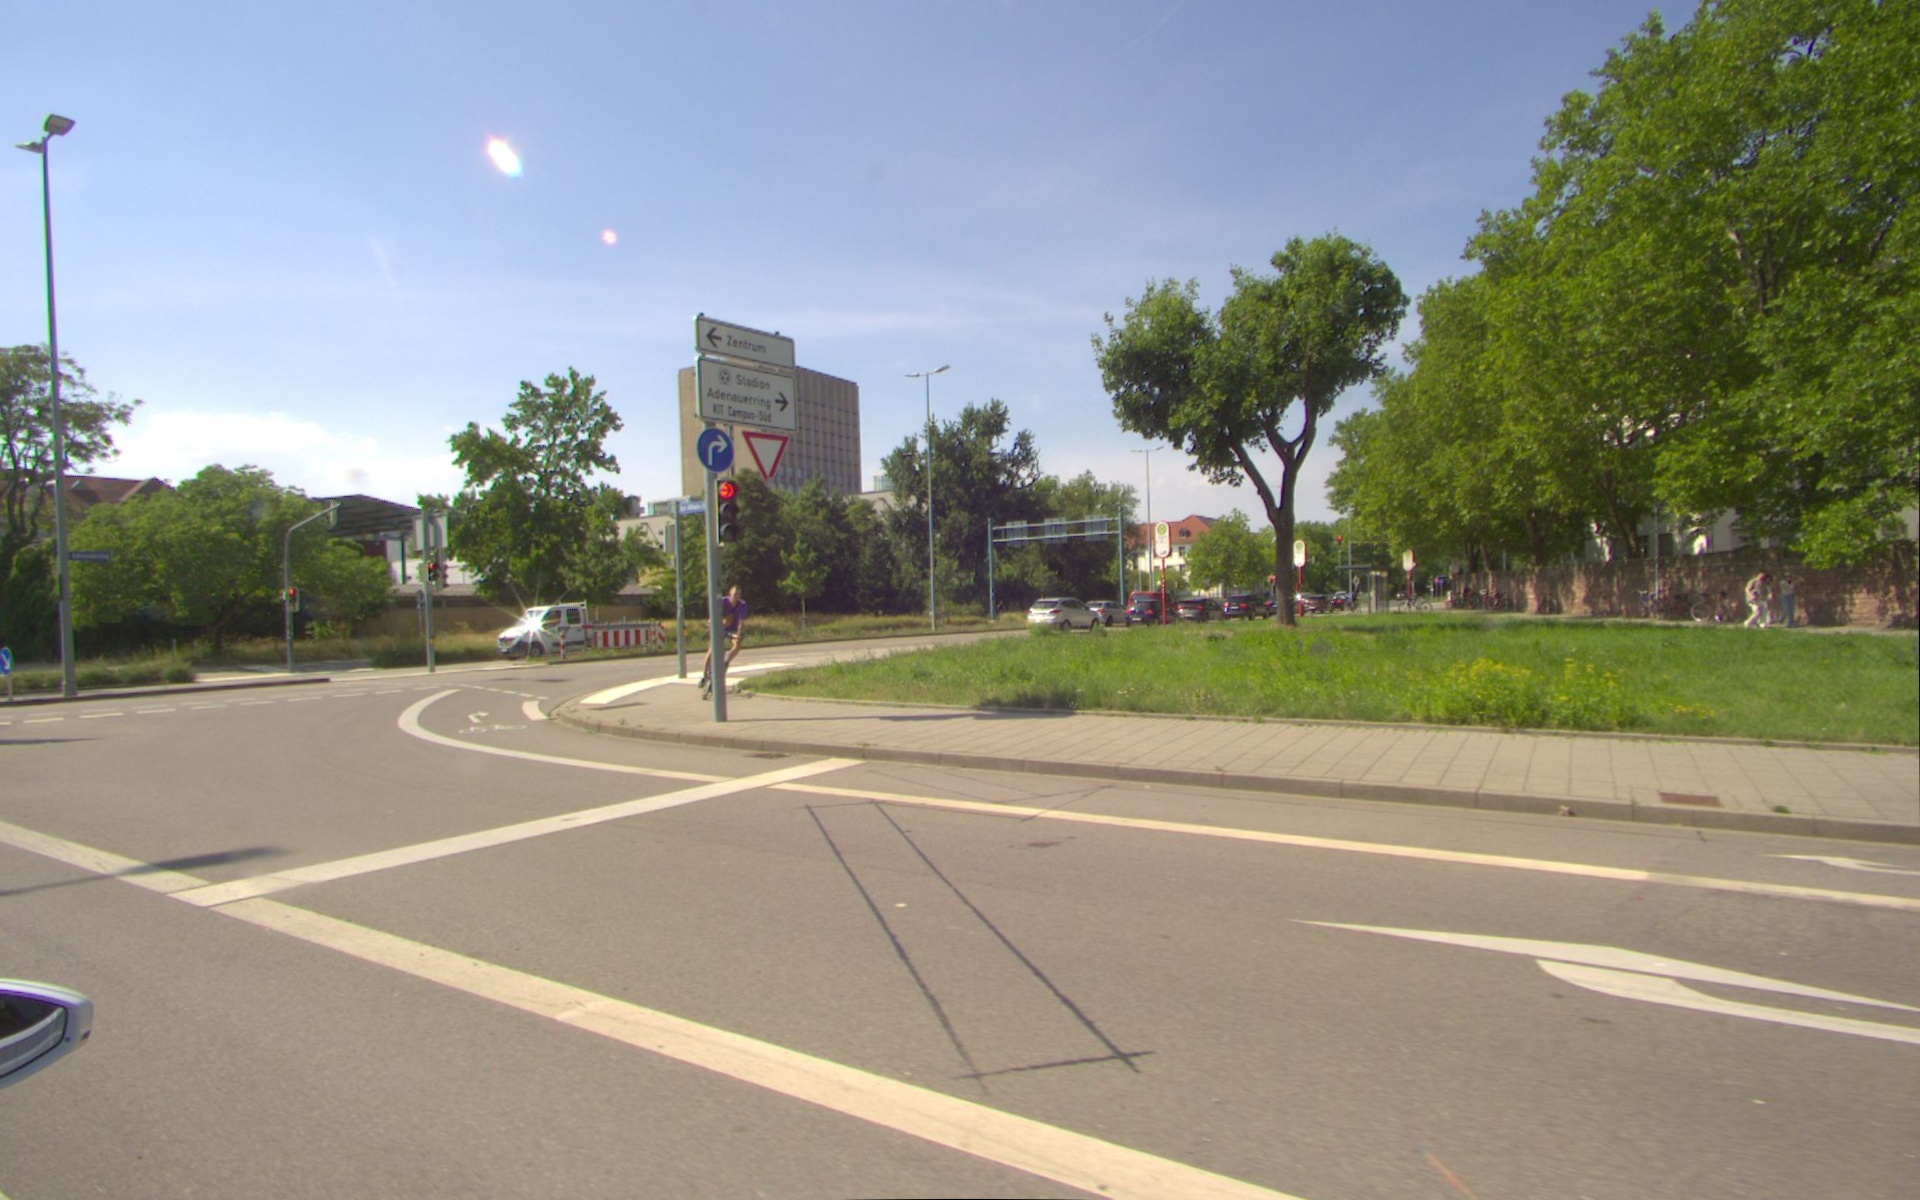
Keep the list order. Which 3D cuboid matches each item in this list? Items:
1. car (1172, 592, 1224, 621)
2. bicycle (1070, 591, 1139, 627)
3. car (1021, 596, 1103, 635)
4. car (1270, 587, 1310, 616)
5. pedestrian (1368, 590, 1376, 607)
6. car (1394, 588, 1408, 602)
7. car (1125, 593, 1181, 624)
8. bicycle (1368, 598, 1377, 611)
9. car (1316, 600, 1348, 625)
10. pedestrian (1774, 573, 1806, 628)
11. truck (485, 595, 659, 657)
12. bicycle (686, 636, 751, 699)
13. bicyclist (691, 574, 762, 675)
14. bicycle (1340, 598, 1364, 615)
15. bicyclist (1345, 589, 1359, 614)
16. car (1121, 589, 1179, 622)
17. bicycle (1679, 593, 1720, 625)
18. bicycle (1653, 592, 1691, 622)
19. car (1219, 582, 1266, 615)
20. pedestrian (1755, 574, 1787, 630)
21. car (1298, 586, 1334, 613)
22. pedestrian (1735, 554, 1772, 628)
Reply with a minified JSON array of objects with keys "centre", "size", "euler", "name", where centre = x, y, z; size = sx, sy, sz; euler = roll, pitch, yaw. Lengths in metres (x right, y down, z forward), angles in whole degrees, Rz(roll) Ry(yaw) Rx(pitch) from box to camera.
[{"centre":[14.268,0.377,59.833],"size":[1.564,1.612,3.972],"euler":[-1,1,37],"name":"car"},{"centre":[8.176,0.495,56.265],"size":[1.978,1.839,3.966],"euler":[-2,0,41],"name":"bicycle"},{"centre":[4.736,0.671,46.054],"size":[1.691,1.640,4.183],"euler":[-1,1,40],"name":"car"},{"centre":[24.002,0.089,72.790],"size":[1.971,2.040,3.980],"euler":[-1,1,30],"name":"car"},{"centre":[35.642,-0.130,86.589],"size":[0.552,1.458,0.729],"euler":[-1,1,30],"name":"pedestrian"},{"centre":[71.607,-0.807,162.553],"size":[1.968,2.039,3.987],"euler":[-1,-2,26],"name":"car"},{"centre":[12.035,0.501,62.203],"size":[1.950,1.821,4.587],"euler":[-1,0,31],"name":"car"},{"centre":[35.685,0.400,86.644],"size":[0.552,1.066,1.318],"euler":[-1,1,30],"name":"bicycle"},{"centre":[31.809,1.080,85.527],"size":[1.970,2.039,3.984],"euler":[-1,-2,29],"name":"car"},{"centre":[24.347,0.014,29.379],"size":[0.515,1.599,0.701],"euler":[-2,1,23],"name":"pedestrian"},{"centre":[-16.874,1.072,44.040],"size":[2.380,2.386,7.007],"euler":[-3,-1,33],"name":"truck"},{"centre":[-3.985,1.092,16.630],"size":[0.672,0.899,1.932],"euler":[-2,0,-3],"name":"bicycle"},{"centre":[-3.927,0.411,16.854],"size":[1.068,1.659,0.486],"euler":[-1,1,29],"name":"bicyclist"},{"centre":[31.781,0.526,81.133],"size":[0.838,1.233,3.462],"euler":[-2,-2,37],"name":"bicycle"},{"centre":[31.792,0.130,81.199],"size":[0.769,2.039,1.265],"euler":[-1,-2,38],"name":"bicyclist"},{"centre":[10.201,0.284,53.591],"size":[1.563,1.612,3.974],"euler":[-1,1,35],"name":"car"},{"centre":[25.372,0.292,34.385],"size":[0.439,1.047,1.447],"euler":[-1,1,6],"name":"bicycle"},{"centre":[25.547,0.236,35.951],"size":[0.439,1.047,1.447],"euler":[-1,1,6],"name":"bicycle"},{"centre":[18.548,-0.094,65.632],"size":[1.971,2.040,3.980],"euler":[-1,1,30],"name":"car"},{"centre":[23.745,0.053,29.323],"size":[0.515,1.599,0.701],"euler":[-2,1,23],"name":"pedestrian"},{"centre":[28.407,-0.091,79.924],"size":[1.971,2.040,3.980],"euler":[-1,1,30],"name":"car"},{"centre":[22.499,-0.251,28.396],"size":[0.513,2.040,0.596],"euler":[-2,1,-9],"name":"pedestrian"}]
